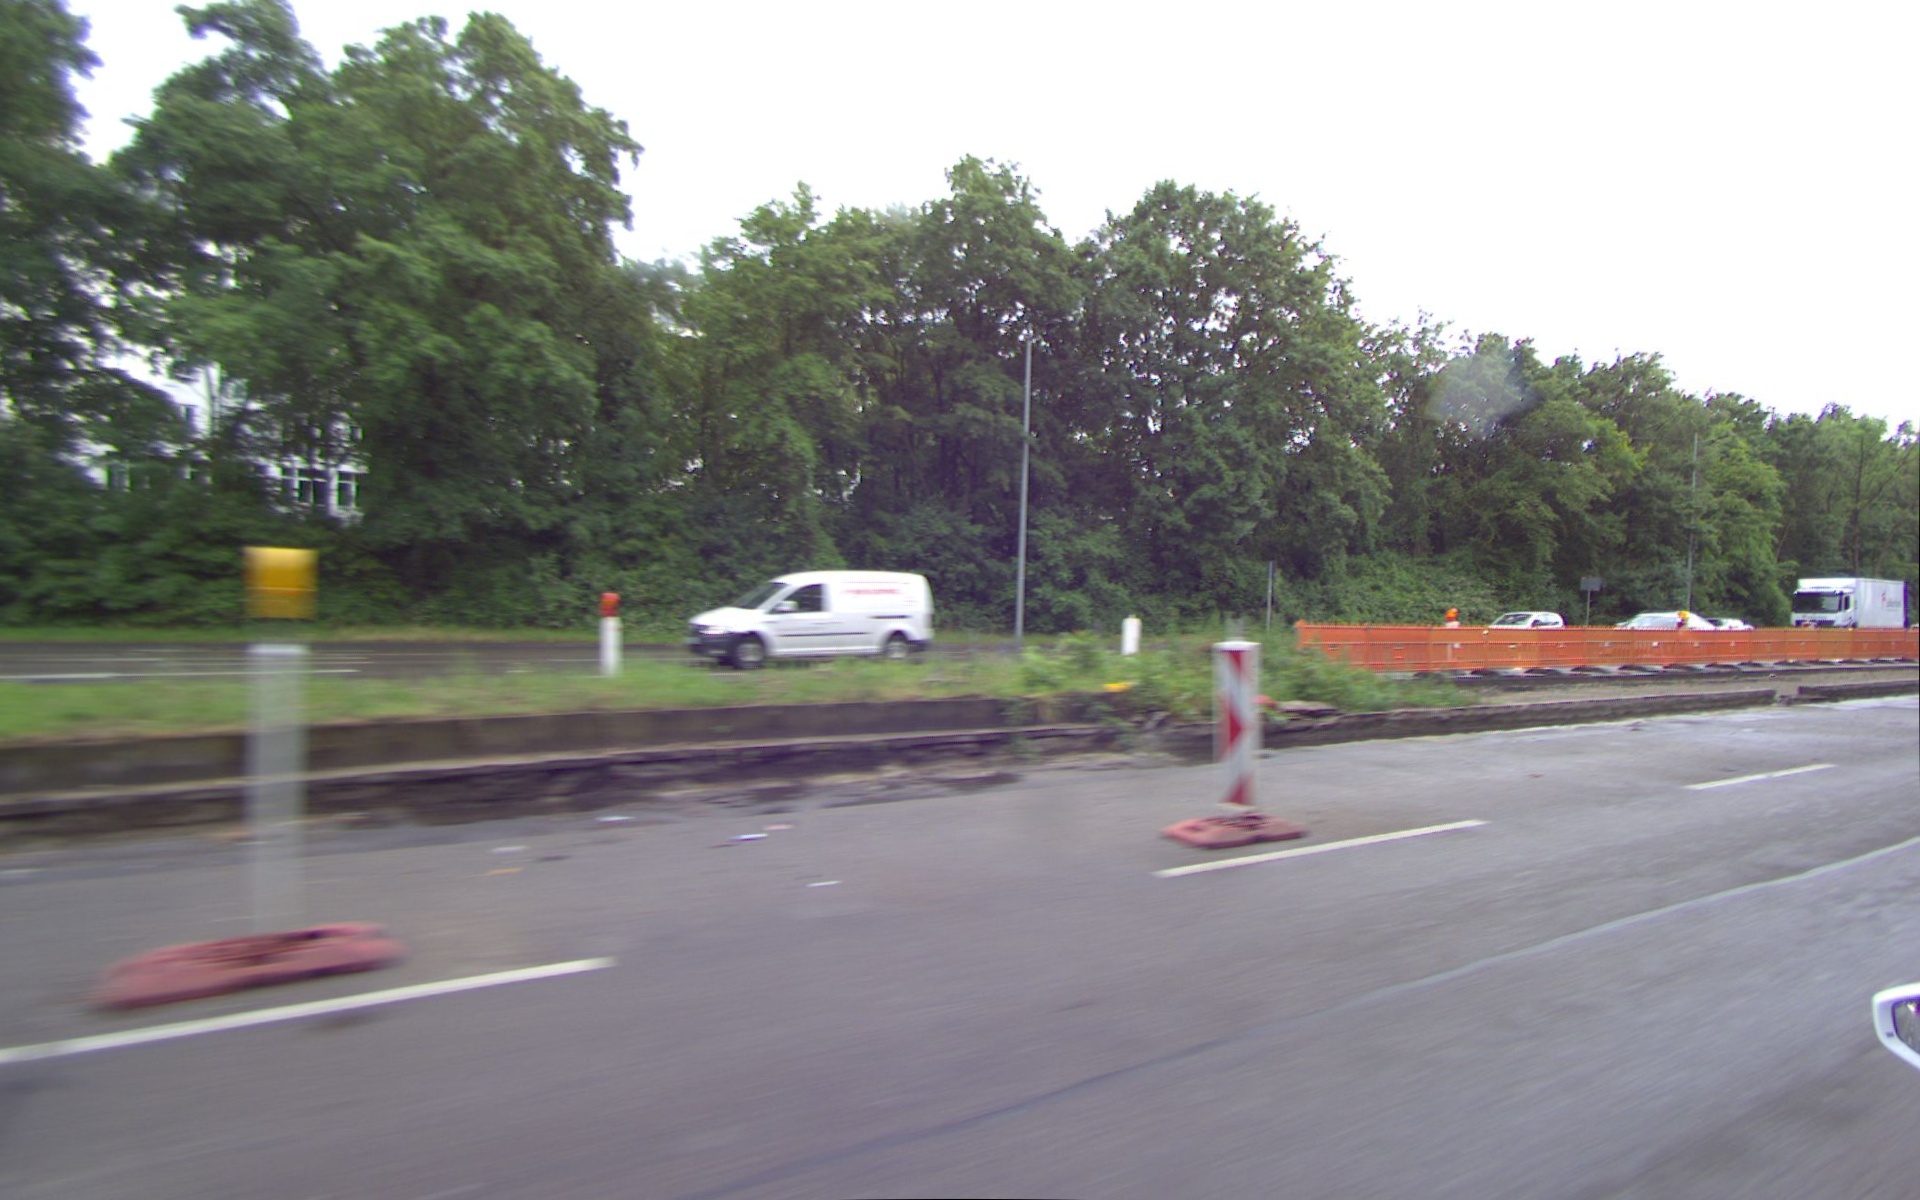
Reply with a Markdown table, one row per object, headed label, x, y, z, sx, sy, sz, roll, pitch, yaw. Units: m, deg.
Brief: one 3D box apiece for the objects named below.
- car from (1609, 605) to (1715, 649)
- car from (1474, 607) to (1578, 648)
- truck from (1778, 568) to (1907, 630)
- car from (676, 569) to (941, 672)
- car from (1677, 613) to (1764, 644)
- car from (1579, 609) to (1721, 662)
| label | x | y | z | sx | sy | sz | roll | pitch | yaw |
| --- | --- | --- | --- | --- | --- | --- | --- | --- | --- |
| car | 26.407 | 0.999 | 37.749 | 3.994 | 1.571 | 1.825 | 1 | 0 | -31 |
| car | 21.400 | 1.030 | 37.982 | 3.852 | 1.444 | 1.781 | 1 | 0 | -31 |
| truck | 48.649 | 0.019 | 55.268 | 10.040 | 3.190 | 2.779 | 1 | 0 | -34 |
| car | -2.893 | 0.350 | 19.609 | 4.779 | 1.805 | 1.904 | 0 | 1 | -32 |
| car | 35.496 | 1.322 | 46.878 | 4.319 | 1.397 | 1.800 | 1 | 0 | -32 |
| car | 21.277 | 1.041 | 30.947 | 4.624 | 1.506 | 1.846 | 1 | 0 | -31 |
